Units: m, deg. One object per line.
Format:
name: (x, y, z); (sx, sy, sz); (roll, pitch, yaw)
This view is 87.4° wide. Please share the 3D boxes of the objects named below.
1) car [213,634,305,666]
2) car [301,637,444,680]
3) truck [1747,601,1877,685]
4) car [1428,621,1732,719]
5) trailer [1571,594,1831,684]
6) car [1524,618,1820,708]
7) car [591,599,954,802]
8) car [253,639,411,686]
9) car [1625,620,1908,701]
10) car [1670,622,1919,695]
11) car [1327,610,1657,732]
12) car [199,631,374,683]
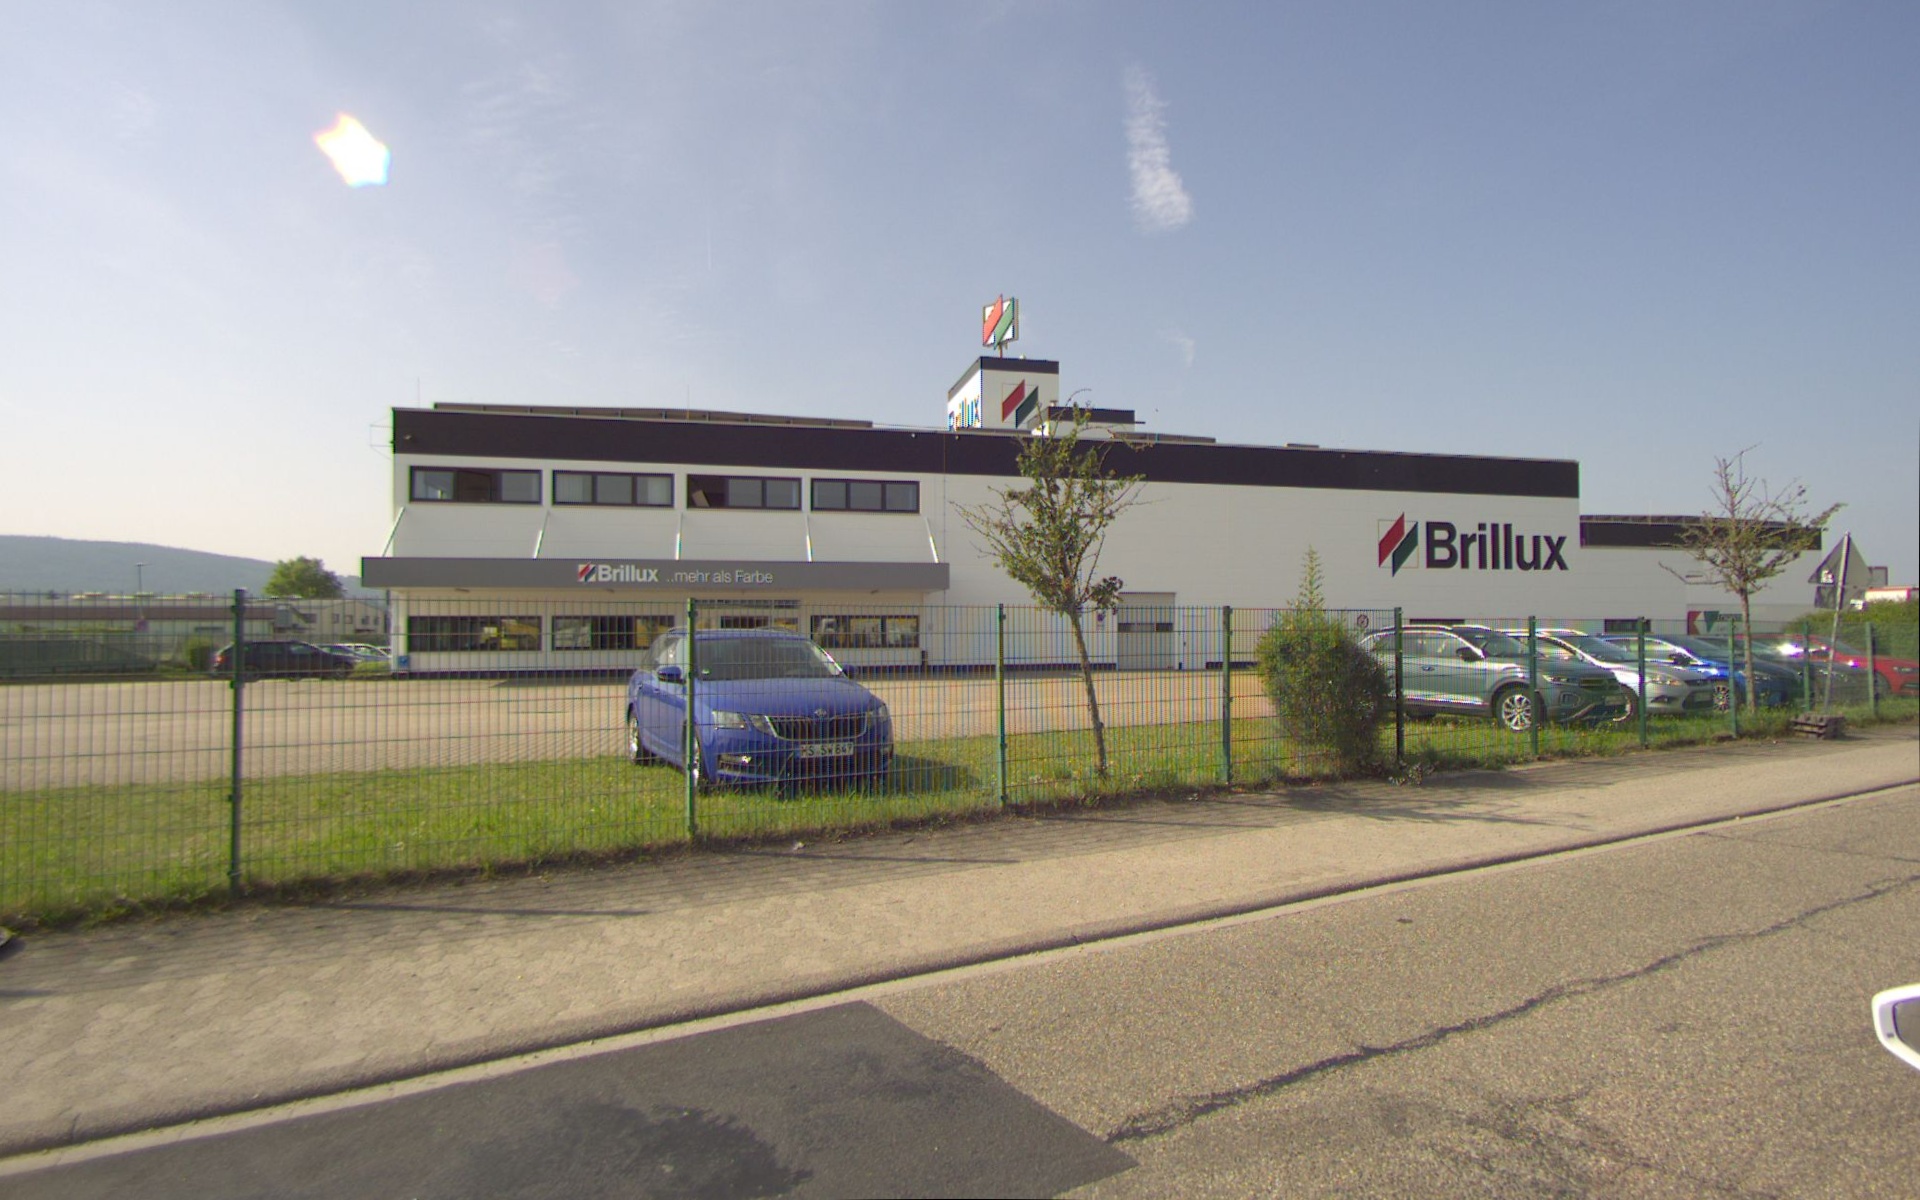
car: (-38.550, 2.730, 55.327); (3.953, 1.728, 1.777); (1, -2, -30)
car: (-24.501, 2.432, 42.057); (5.004, 1.724, 1.984); (1, -3, -31)
truck: (44.443, 2.226, 52.422); (5.451, 4.125, 2.513); (2, 0, -15)
car: (10.443, 1.181, 17.234); (1.852, 1.463, 4.022); (1, -4, -30)
trailer: (37.350, 2.005, 50.538); (13.655, 4.095, 2.483); (2, 0, -15)
car: (12.919, 1.151, 18.495); (1.852, 1.463, 4.022); (1, -4, -30)
car: (-2.103, 0.882, 9.837); (2.054, 1.463, 4.665); (1, -4, -30)
car: (-24.071, 2.385, 38.720); (5.004, 1.724, 1.984); (1, -3, -31)
car: (16.041, 1.218, 20.202); (1.852, 1.463, 4.022); (1, -4, -30)
car: (19.004, 1.323, 22.607); (1.929, 1.463, 4.516); (1, -4, -30)
car: (7.952, 1.068, 15.433); (1.843, 1.588, 4.109); (1, -4, -30)
car: (-23.762, 2.013, 35.647); (5.008, 1.724, 1.982); (2, -3, -33)
